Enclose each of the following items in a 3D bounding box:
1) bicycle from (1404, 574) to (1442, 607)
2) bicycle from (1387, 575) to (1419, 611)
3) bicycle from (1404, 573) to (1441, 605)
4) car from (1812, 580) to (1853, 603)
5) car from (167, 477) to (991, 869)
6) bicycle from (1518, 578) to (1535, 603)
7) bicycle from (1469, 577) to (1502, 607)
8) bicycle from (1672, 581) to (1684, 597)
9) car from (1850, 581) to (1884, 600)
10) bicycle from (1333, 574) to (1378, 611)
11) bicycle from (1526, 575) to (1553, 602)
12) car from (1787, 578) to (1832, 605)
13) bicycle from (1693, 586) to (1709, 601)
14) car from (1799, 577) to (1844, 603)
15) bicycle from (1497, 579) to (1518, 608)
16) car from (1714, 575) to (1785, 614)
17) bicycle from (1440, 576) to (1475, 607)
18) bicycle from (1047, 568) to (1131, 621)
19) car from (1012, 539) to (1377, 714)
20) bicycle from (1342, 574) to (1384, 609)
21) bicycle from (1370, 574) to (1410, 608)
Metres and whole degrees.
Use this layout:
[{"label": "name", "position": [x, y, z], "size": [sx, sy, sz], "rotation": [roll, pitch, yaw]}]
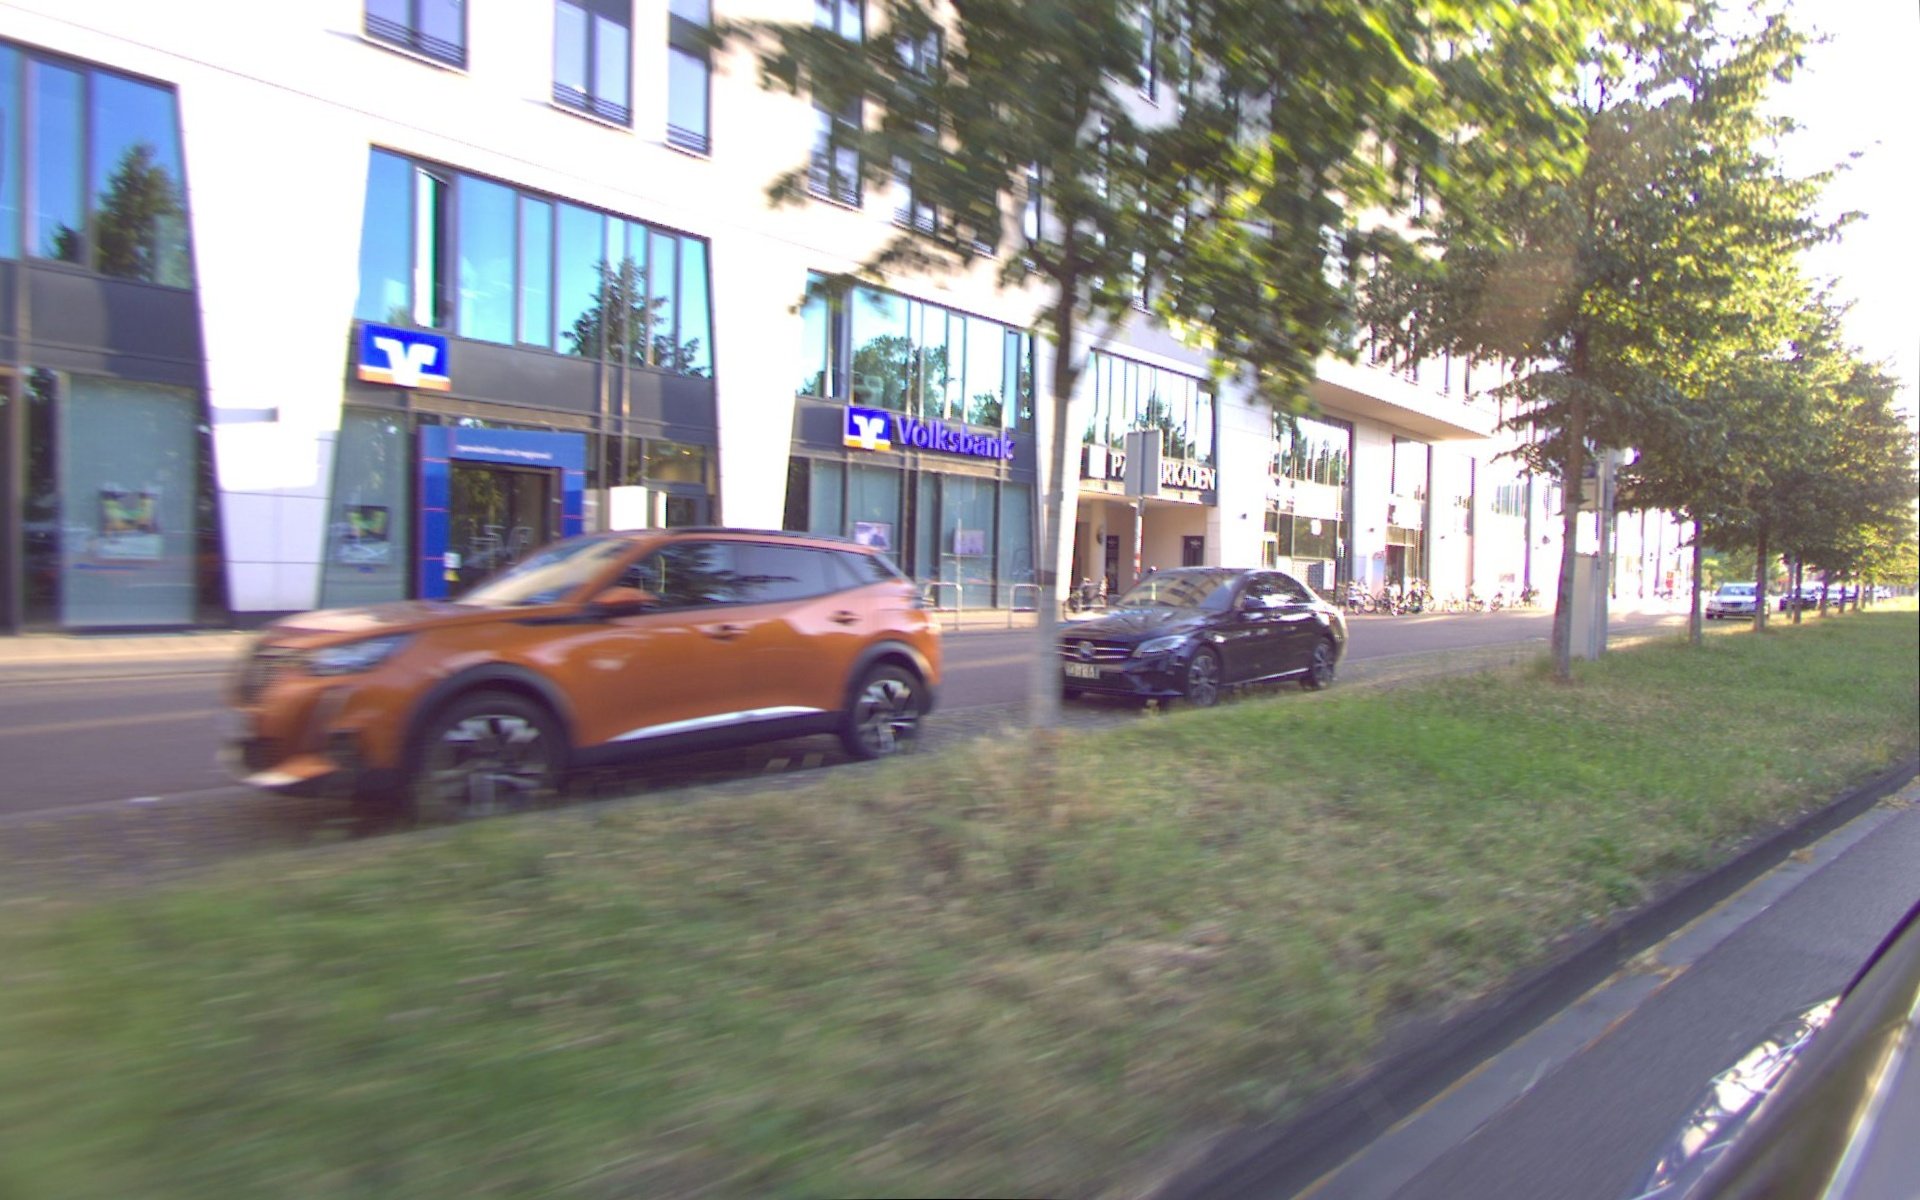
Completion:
[{"label": "bicycle", "position": [16.021, -0.324, 34.978], "size": [0.533, 1.073, 1.827], "rotation": [6, 4, 45]}, {"label": "bicycle", "position": [14.053, -0.227, 32.113], "size": [0.532, 1.073, 1.758], "rotation": [5, 4, 35]}, {"label": "bicycle", "position": [16.611, -0.398, 36.333], "size": [0.533, 1.073, 1.827], "rotation": [6, 4, 45]}, {"label": "car", "position": [61.343, -0.579, 71.138], "size": [1.921, 1.519, 4.930], "rotation": [3, 2, 44]}, {"label": "car", "position": [-1.974, 0.249, 6.236], "size": [1.855, 1.549, 4.411], "rotation": [1, 1, 44]}, {"label": "bicycle", "position": [25.398, -0.433, 45.377], "size": [0.531, 1.073, 1.836], "rotation": [5, 3, 32]}, {"label": "bicycle", "position": [20.207, -0.306, 38.885], "size": [0.533, 1.073, 1.827], "rotation": [6, 4, 45]}, {"label": "bicycle", "position": [48.408, -0.755, 68.252], "size": [0.532, 1.072, 1.590], "rotation": [3, 2, 39]}, {"label": "car", "position": [83.091, -0.851, 92.686], "size": [4.293, 1.518, 1.813], "rotation": [0, 6, -42]}, {"label": "bicycle", "position": [12.214, -0.239, 31.238], "size": [0.533, 1.073, 1.827], "rotation": [6, 4, 45]}, {"label": "bicycle", "position": [25.781, -0.514, 45.029], "size": [1.752, 1.178, 0.538], "rotation": [0, 4, -45]}, {"label": "car", "position": [51.149, -0.516, 60.887], "size": [1.725, 1.519, 4.164], "rotation": [2, 1, 45]}, {"label": "bicycle", "position": [52.514, -0.470, 71.709], "size": [0.620, 1.046, 2.226], "rotation": [3, 3, 43]}, {"label": "car", "position": [56.258, -0.630, 66.050], "size": [1.953, 1.644, 4.744], "rotation": [0, 0, 44]}, {"label": "bicycle", "position": [21.452, -0.251, 39.636], "size": [0.531, 1.073, 1.836], "rotation": [5, 3, 32]}, {"label": "car", "position": [32.843, -0.239, 42.053], "size": [1.809, 1.519, 4.749], "rotation": [3, 2, 44]}, {"label": "bicycle", "position": [18.252, -0.301, 37.139], "size": [0.533, 1.073, 1.827], "rotation": [6, 4, 45]}, {"label": "bicycle", "position": [2.763, -0.129, 21.495], "size": [0.653, 1.051, 2.022], "rotation": [3, 2, 45]}, {"label": "car", "position": [2.854, 0.172, 11.485], "size": [1.943, 1.568, 4.738], "rotation": [3, 3, 42]}, {"label": "bicycle", "position": [13.170, -0.276, 33.052], "size": [0.533, 1.073, 1.827], "rotation": [5, 4, 45]}, {"label": "bicycle", "position": [14.095, -0.296, 33.152], "size": [0.533, 1.074, 1.827], "rotation": [3, 2, 45]}]
